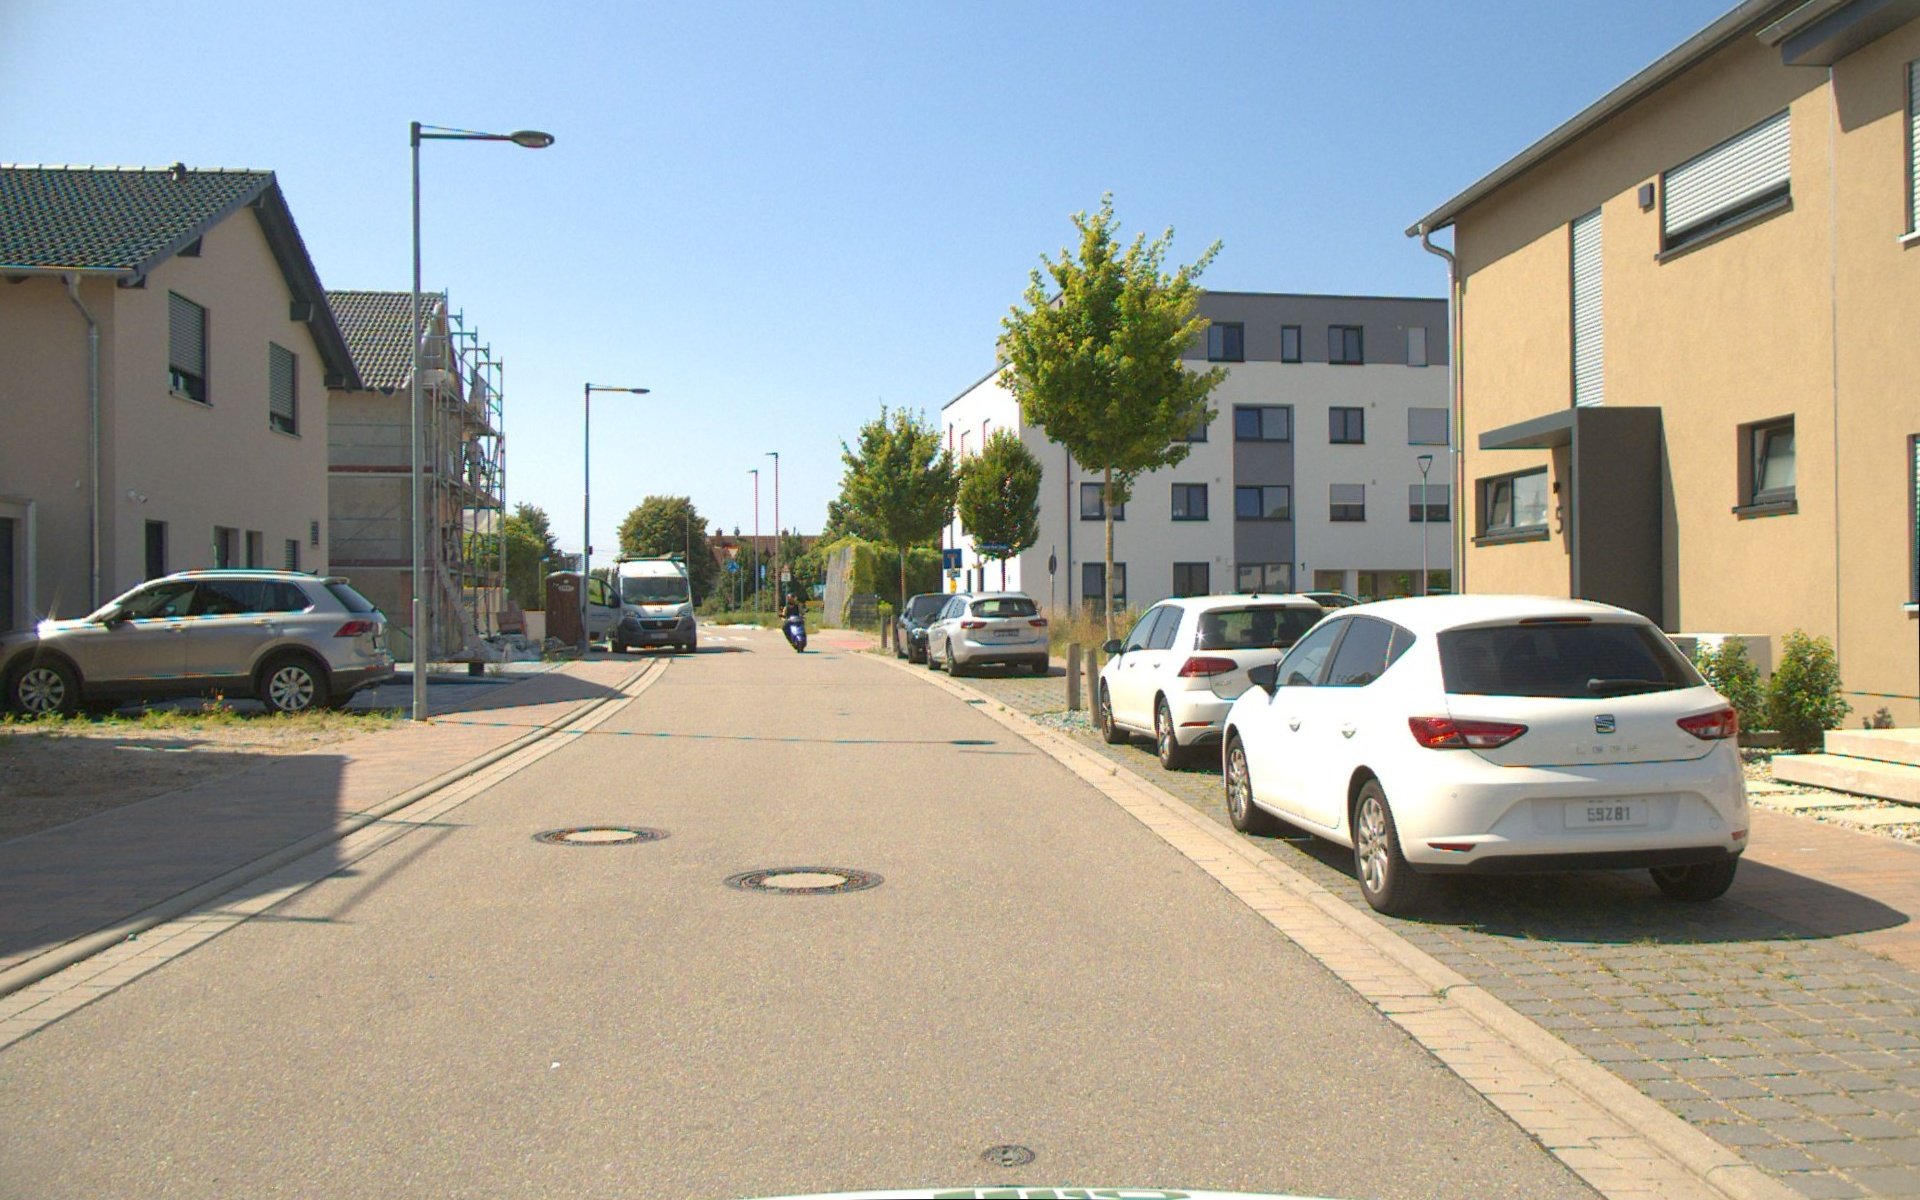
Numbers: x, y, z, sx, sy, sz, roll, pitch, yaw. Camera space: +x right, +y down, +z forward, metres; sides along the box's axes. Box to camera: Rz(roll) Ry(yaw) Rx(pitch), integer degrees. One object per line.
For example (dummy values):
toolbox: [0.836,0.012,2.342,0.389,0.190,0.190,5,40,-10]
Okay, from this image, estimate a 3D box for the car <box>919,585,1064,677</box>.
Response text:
car: [0.495,0.515,31.541,1.883,1.537,5.284,-2,1,-9]

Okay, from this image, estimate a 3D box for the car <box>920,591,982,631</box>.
car: [-0.377,0.406,64.206,1.647,1.495,4.105,0,0,-11]

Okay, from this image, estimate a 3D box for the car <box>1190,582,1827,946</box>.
car: [2.682,0.690,9.364,1.779,1.481,4.560,-2,0,-4]

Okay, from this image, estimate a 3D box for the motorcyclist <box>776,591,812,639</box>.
motorcyclist: [-4.457,0.397,44.386,0.908,1.244,0.802,-1,1,-10]

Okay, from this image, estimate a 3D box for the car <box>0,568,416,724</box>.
car: [-8.833,0.495,19.403,4.343,1.640,1.996,-1,0,-9]

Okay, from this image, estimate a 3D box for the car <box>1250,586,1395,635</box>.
car: [11.473,0.346,52.500,4.083,1.461,1.878,-1,-1,-11]

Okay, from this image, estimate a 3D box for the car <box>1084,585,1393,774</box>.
car: [2.443,0.619,15.690,1.745,1.450,4.509,-2,1,-6]

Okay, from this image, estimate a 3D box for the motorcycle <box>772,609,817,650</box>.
motorcycle: [-4.480,0.801,44.613,0.939,1.053,2.429,-1,-1,-12]

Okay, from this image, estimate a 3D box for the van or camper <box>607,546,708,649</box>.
van or camper: [-8.411,-0.029,45.490,2.235,2.598,6.342,-1,-1,-15]

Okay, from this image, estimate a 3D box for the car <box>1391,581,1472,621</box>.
car: [19.463,0.062,68.445,1.842,1.529,3.670,-1,-1,-9]

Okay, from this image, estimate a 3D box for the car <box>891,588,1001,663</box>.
car: [-0.394,0.508,37.534,1.882,1.495,5.132,-2,1,-7]

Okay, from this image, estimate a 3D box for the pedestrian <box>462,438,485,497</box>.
pedestrian: [-13.319,-3.623,45.291,0.552,1.526,0.746,-1,-2,-12]

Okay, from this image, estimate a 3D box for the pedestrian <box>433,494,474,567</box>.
pedestrian: [-12.351,-1.681,40.321,0.567,1.709,0.745,-3,-3,39]
